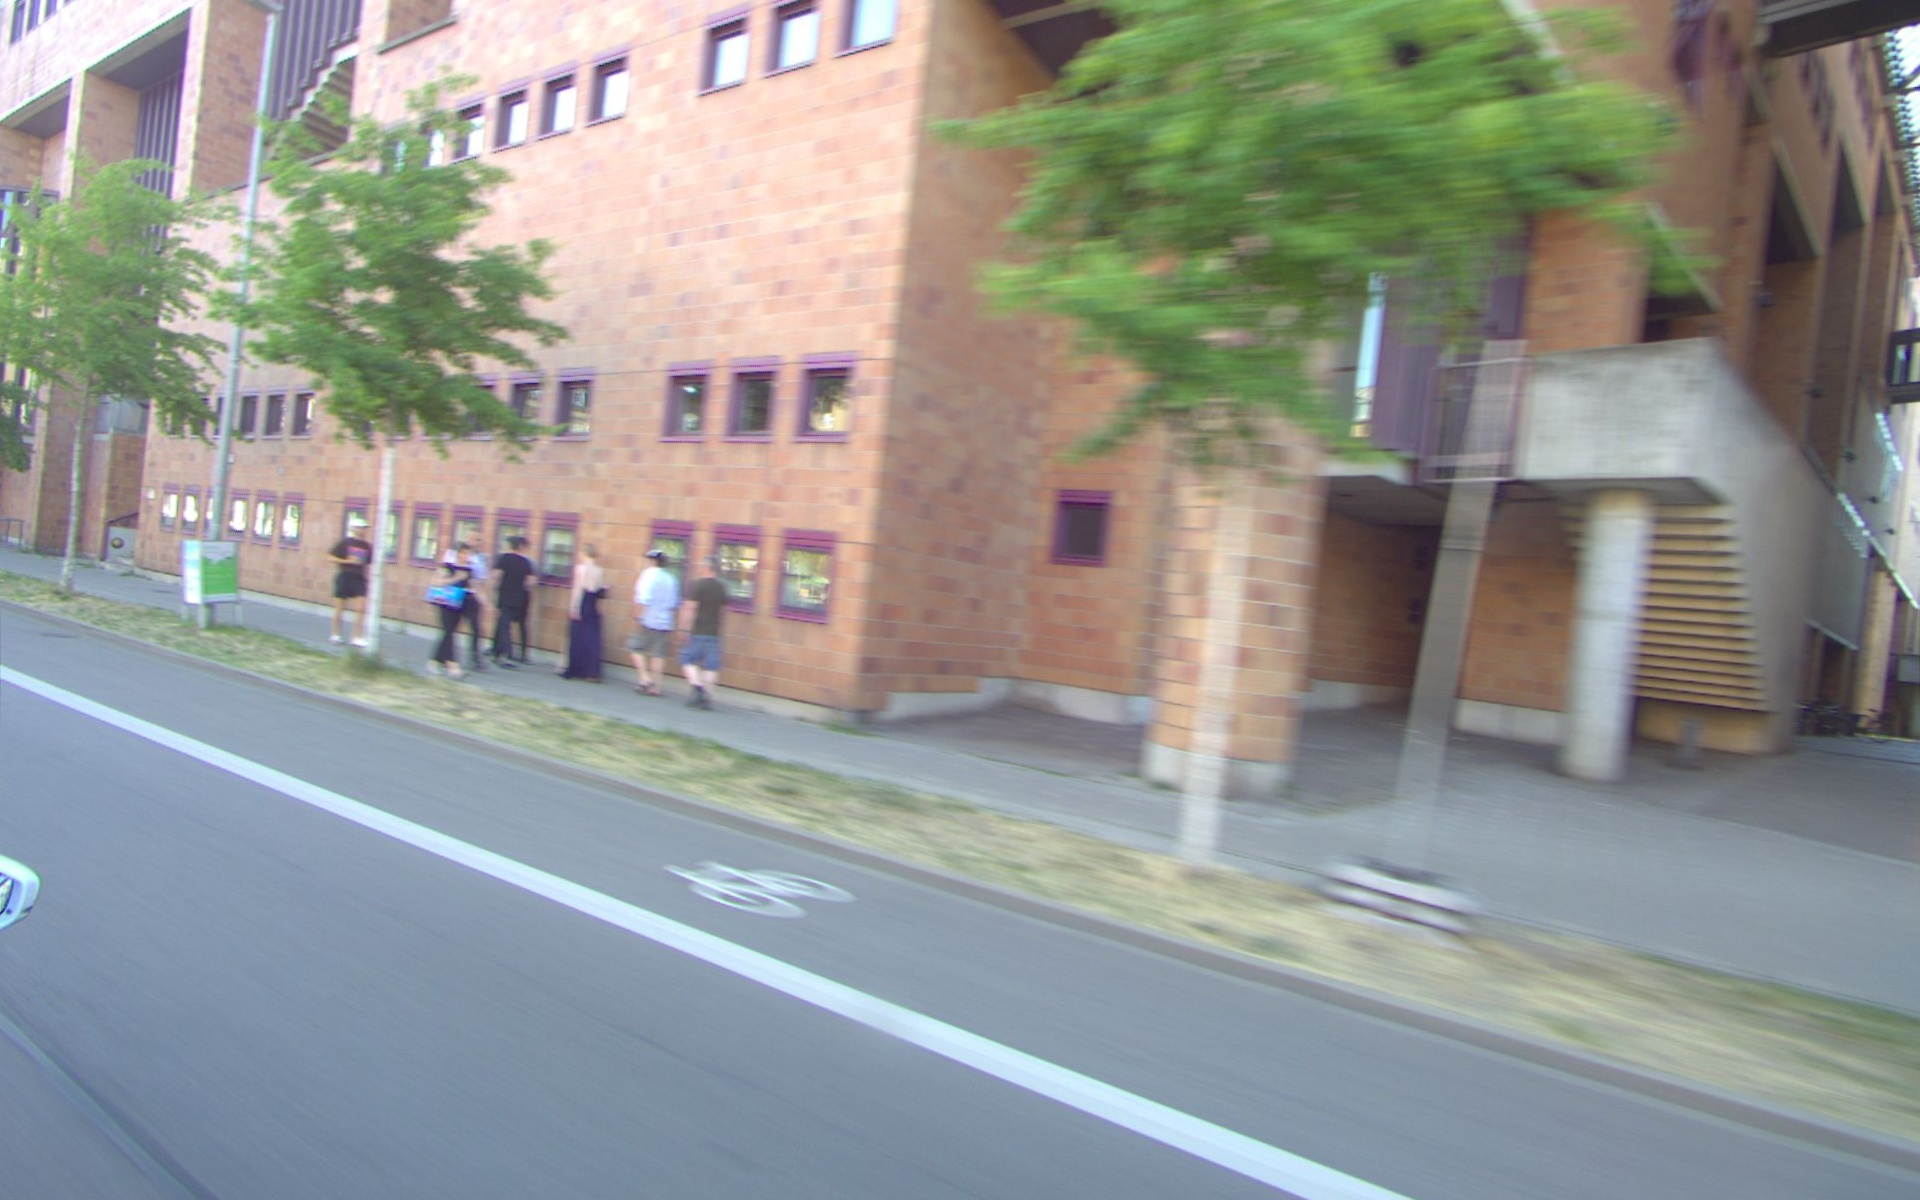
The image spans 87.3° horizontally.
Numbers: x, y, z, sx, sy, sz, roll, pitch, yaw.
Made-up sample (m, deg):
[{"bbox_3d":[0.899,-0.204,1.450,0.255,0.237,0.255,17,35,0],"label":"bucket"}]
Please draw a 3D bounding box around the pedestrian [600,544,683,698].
[{"bbox_3d":[-3.861,0.252,12.201,0.686,1.778,0.535,7,1,43],"label":"pedestrian"}]

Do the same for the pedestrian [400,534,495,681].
[{"bbox_3d":[-5.985,0.090,11.766,0.691,1.625,0.518,6,0,20],"label":"pedestrian"}]

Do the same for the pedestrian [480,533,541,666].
[{"bbox_3d":[-6.250,-0.005,13.971,0.530,1.778,0.420,7,1,38],"label":"pedestrian"}]

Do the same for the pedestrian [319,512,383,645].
[{"bbox_3d":[-8.453,-0.292,13.960,0.416,1.778,0.535,7,1,45],"label":"pedestrian"}]

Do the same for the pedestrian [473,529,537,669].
[{"bbox_3d":[-6.017,-0.016,13.293,0.533,1.778,0.460,6,1,-35],"label":"pedestrian"}]

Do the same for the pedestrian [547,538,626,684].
[{"bbox_3d":[-4.778,0.134,12.867,0.686,1.778,0.535,7,1,43],"label":"pedestrian"}]

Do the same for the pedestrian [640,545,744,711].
[{"bbox_3d":[-3.048,0.321,11.447,0.686,1.778,0.731,7,1,43],"label":"pedestrian"}]

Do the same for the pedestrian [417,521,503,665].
[{"bbox_3d":[-6.291,-0.079,12.666,0.630,1.735,0.572,6,1,28],"label":"pedestrian"}]
